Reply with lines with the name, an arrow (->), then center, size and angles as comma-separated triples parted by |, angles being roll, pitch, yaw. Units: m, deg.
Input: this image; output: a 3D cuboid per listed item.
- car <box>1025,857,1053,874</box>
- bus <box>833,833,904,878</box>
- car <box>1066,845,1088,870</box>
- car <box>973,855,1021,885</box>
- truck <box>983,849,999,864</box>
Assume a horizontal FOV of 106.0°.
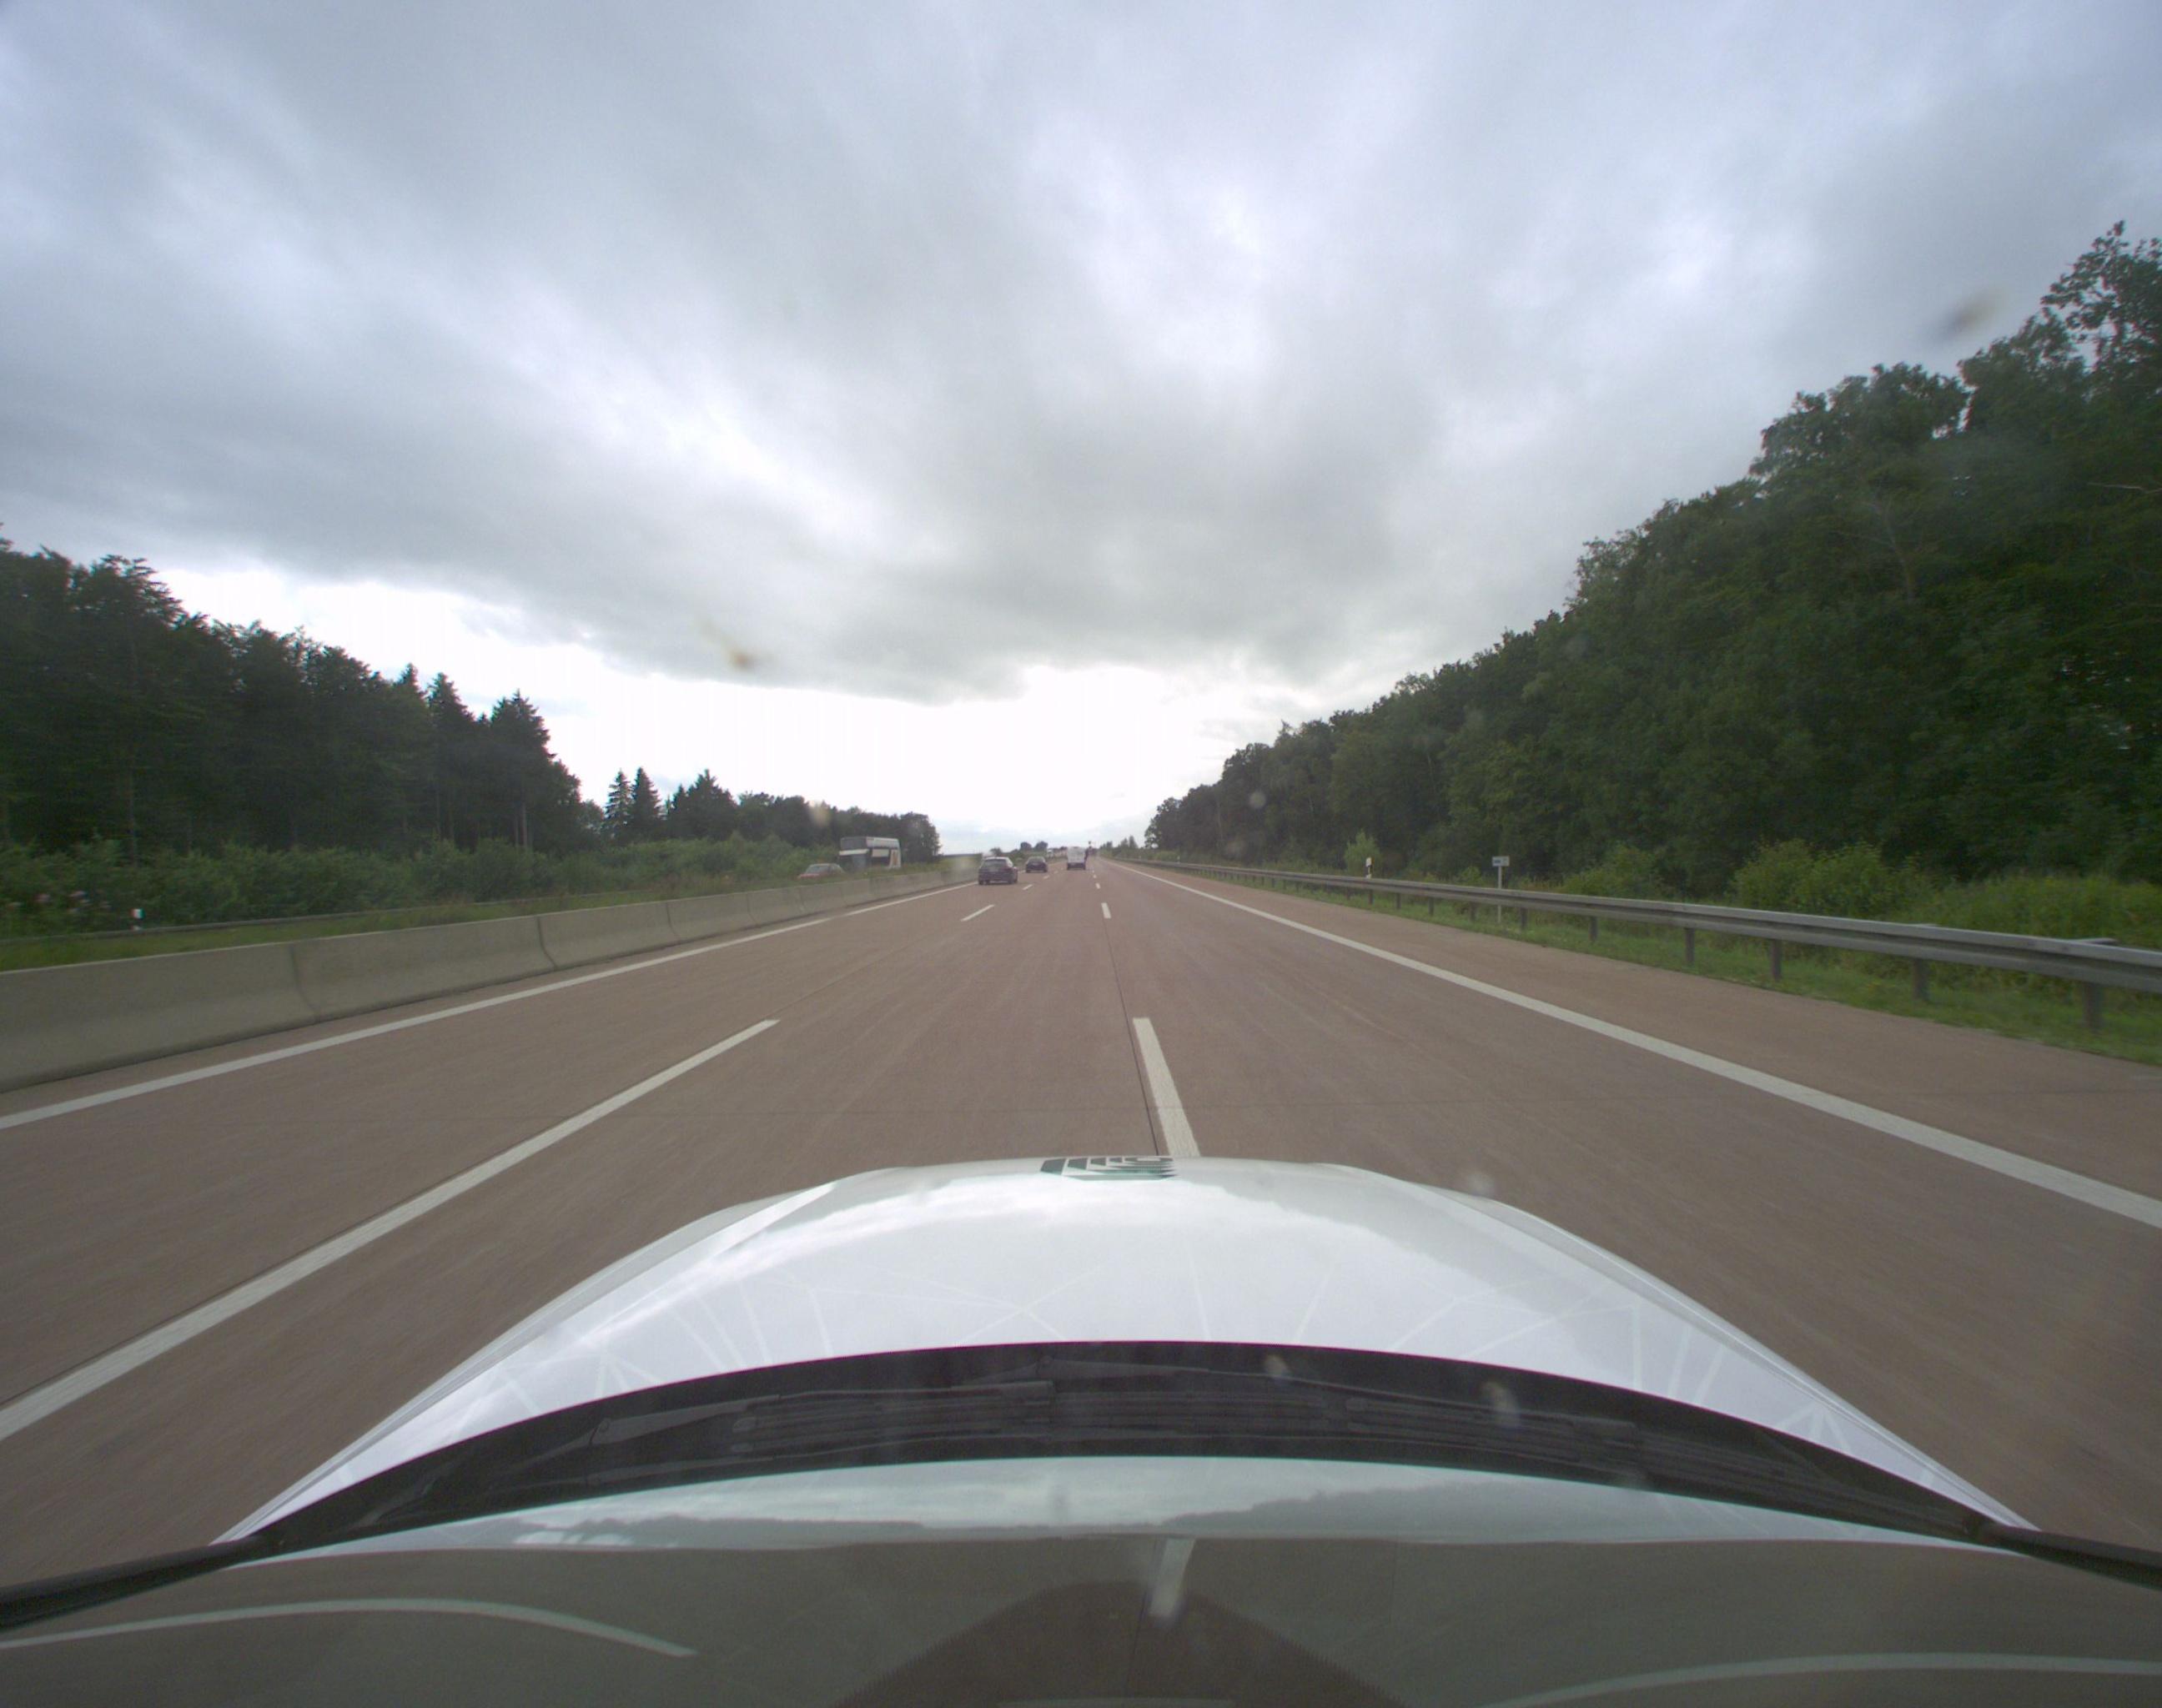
car -> -3.912, 1.049, 76.564 | 2.077, 1.550, 5.677 | 0, 0, 2
bus -> -20.105, 0.104, 78.308 | 3.039, 3.888, 14.358 | -1, 0, 0
car -> -0.394, 0.332, 88.765 | 2.130, 2.507, 7.133 | -1, 0, 1
car -> -4.646, 0.856, 45.883 | 2.052, 1.491, 5.452 | -1, 0, 0
truck -> -19.081, 0.492, 173.412 | 2.349, 3.099, 7.481 | 1, 0, 0
